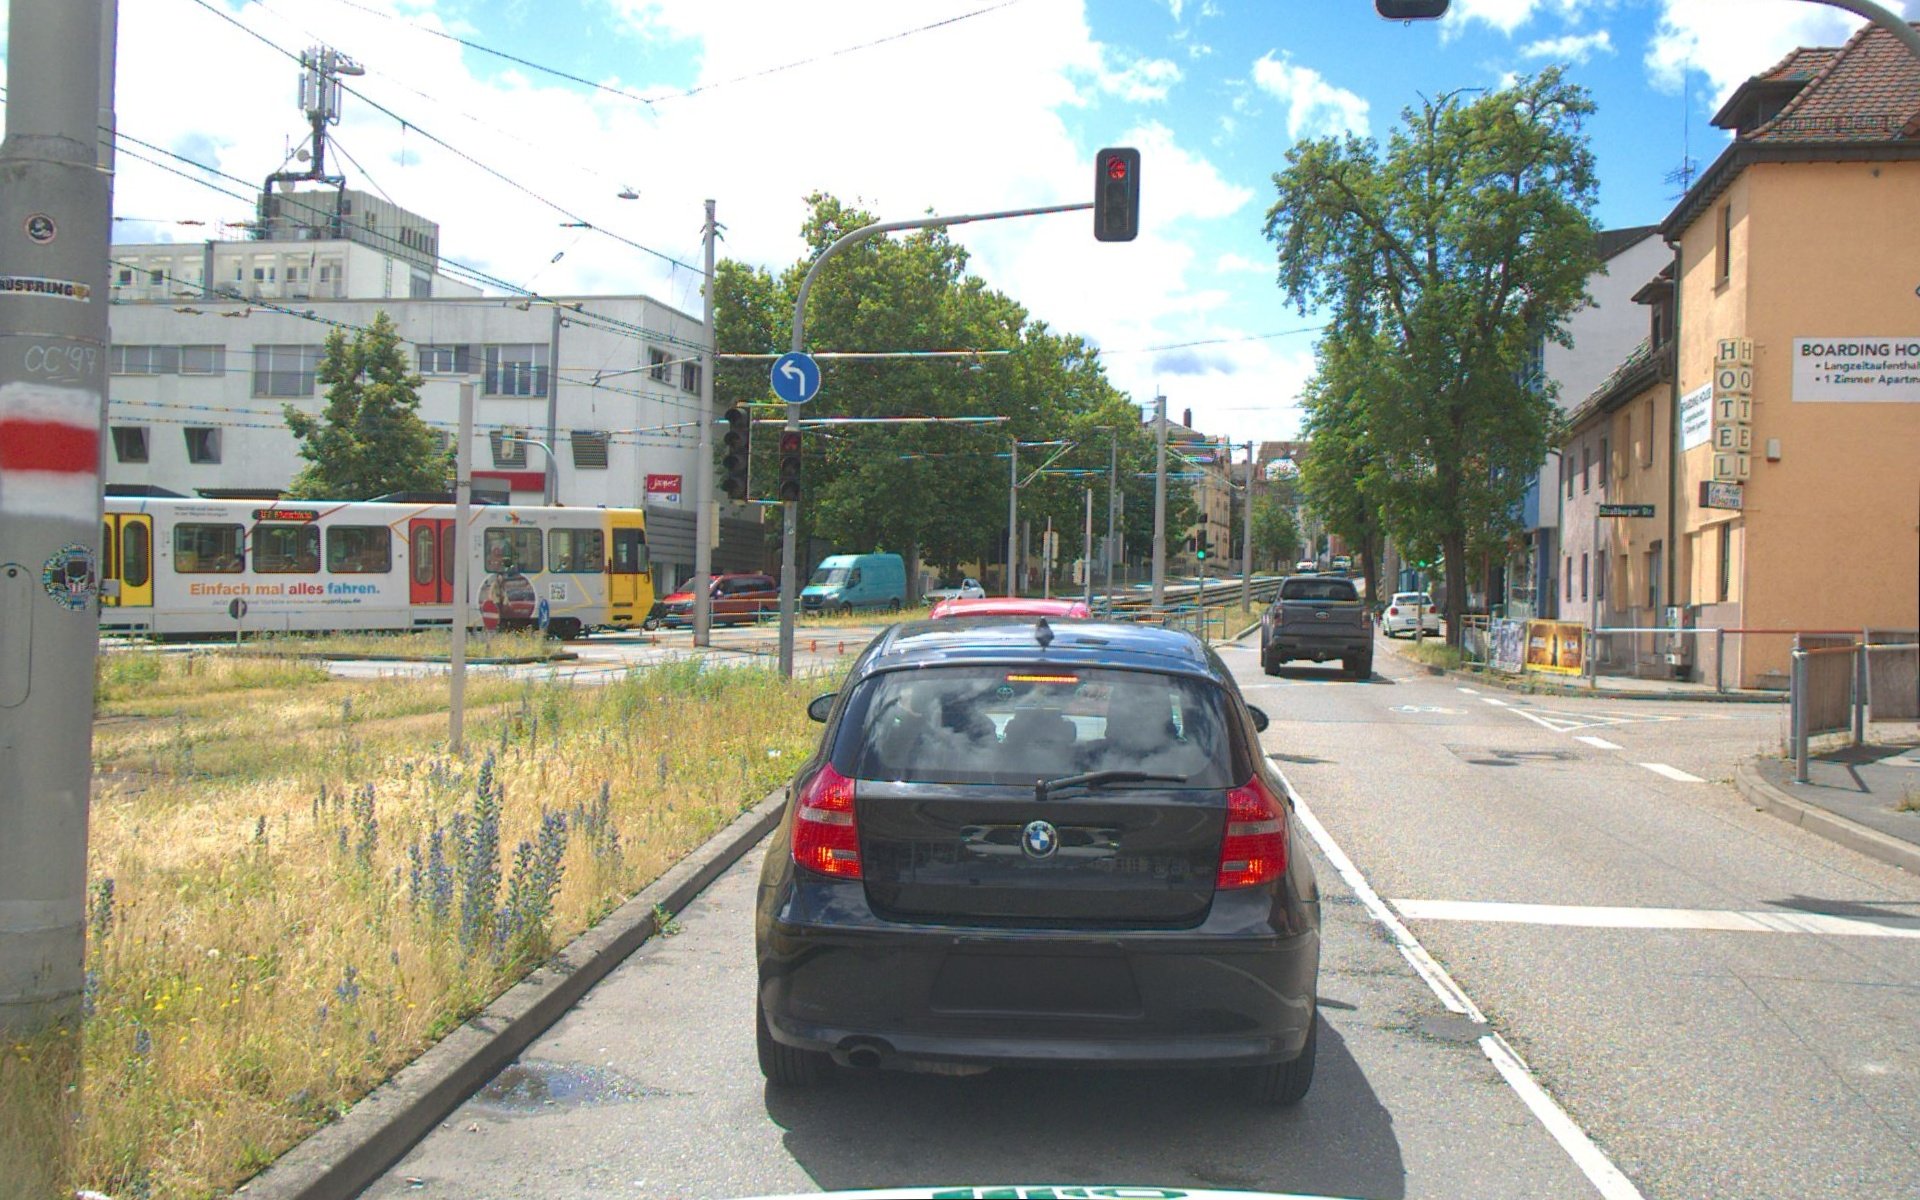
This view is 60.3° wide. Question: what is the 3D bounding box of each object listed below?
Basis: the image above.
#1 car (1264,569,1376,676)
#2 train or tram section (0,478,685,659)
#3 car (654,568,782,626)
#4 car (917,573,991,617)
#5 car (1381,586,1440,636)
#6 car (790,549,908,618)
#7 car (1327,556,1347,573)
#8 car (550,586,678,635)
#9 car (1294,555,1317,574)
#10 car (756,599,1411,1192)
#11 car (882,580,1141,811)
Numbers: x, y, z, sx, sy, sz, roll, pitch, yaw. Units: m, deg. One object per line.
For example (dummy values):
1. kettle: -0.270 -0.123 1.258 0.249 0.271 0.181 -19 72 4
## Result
1. car: 6.988 0.431 32.254 1.956 1.920 5.154 0 -1 12
2. train or tram section: -16.587 -0.642 40.511 19.812 3.881 3.716 0 -1 -35
3. car: -8.867 -0.091 60.967 1.822 2.044 4.777 -1 -1 37
4. car: -0.236 -0.208 76.939 1.814 1.962 4.798 -1 -1 21
5. car: 15.292 0.376 56.277 1.749 1.624 4.003 0 -1 12
6. car: -4.495 -0.639 67.991 2.091 2.701 5.680 -1 -1 29
7. car: 47.413 -4.467 207.829 1.952 2.049 4.000 -1 -1 21
8. car: -11.788 0.369 56.512 1.822 1.613 4.153 -1 -1 36
9. car: 39.411 -4.048 188.402 1.952 2.049 4.000 -1 -1 21
10. car: 0.220 0.763 6.201 1.667 1.477 3.997 0 -1 -3
11. car: 0.548 0.643 12.788 1.590 1.499 4.003 0 -1 8
